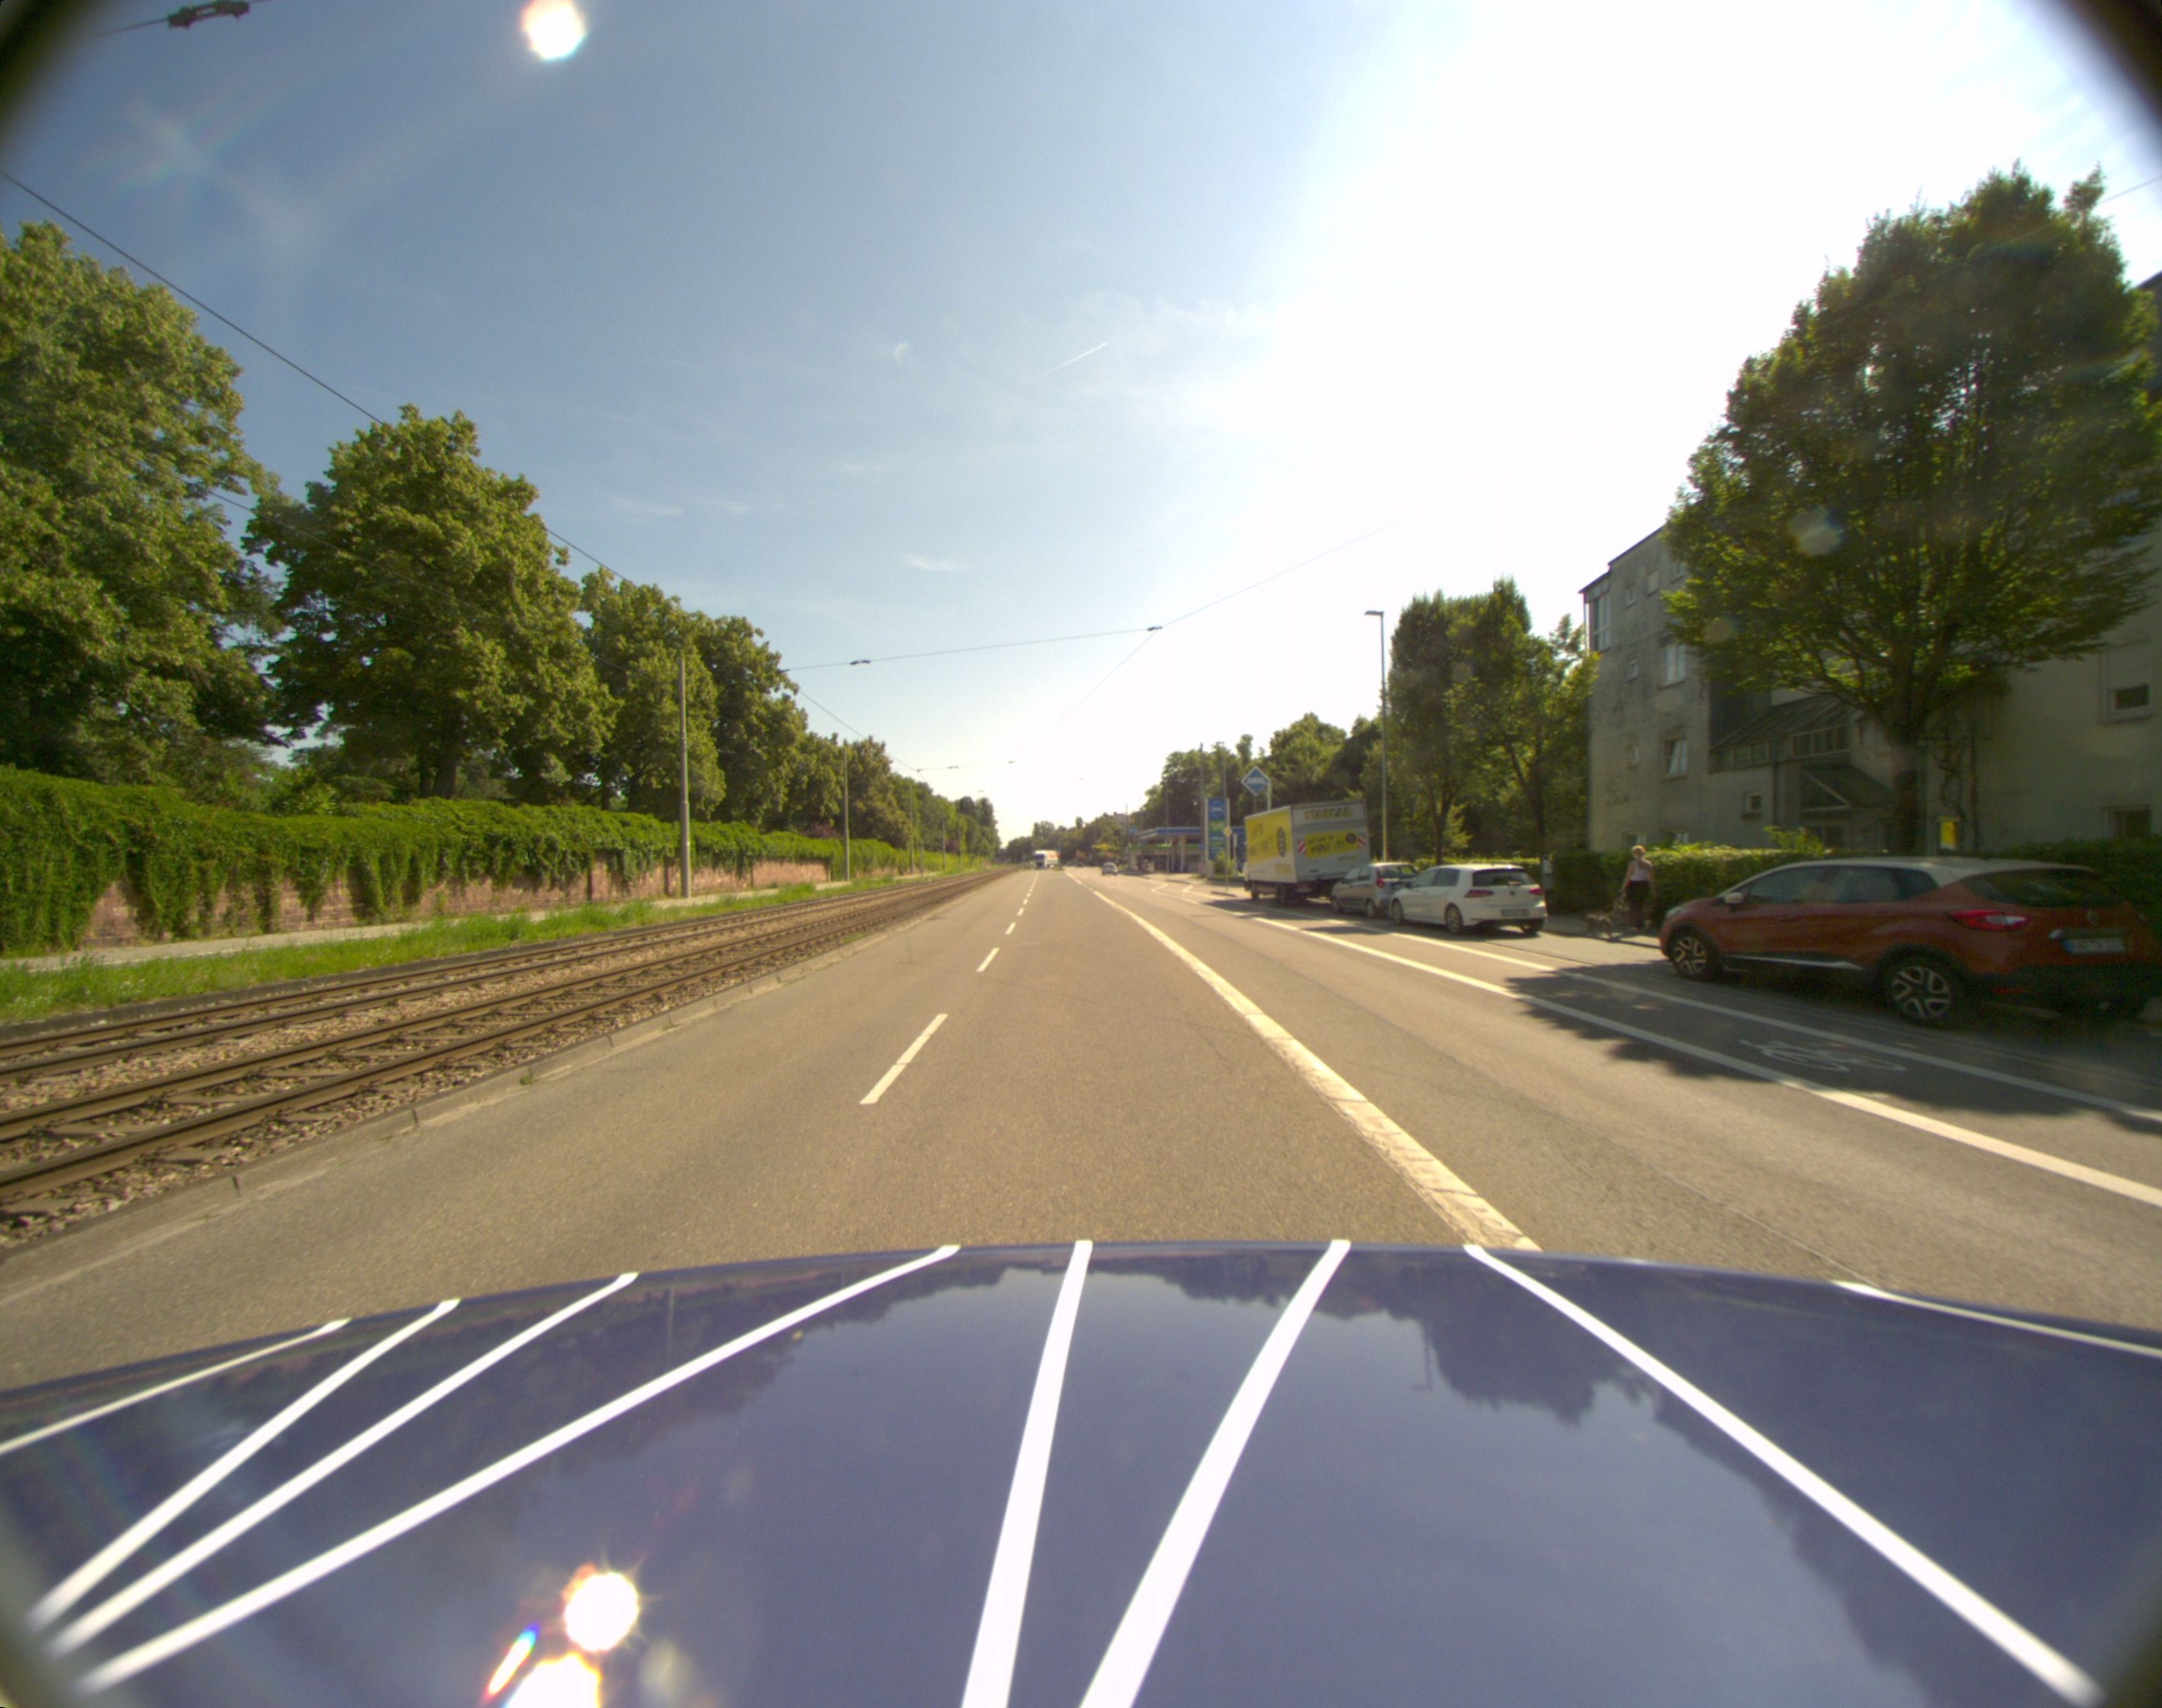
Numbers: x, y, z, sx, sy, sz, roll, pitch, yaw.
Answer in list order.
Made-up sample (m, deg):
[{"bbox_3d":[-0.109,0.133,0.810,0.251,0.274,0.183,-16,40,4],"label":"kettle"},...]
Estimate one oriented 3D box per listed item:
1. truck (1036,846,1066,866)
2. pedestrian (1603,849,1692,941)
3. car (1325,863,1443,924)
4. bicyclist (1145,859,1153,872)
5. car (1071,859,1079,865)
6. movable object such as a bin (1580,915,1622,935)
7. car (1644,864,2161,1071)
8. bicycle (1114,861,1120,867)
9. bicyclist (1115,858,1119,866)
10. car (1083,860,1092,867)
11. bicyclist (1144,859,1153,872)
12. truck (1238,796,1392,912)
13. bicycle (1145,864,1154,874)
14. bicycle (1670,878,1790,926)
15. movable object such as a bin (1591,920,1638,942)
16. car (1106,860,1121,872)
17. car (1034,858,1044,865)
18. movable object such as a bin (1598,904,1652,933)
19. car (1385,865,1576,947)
[{"bbox_3d":[-6.358,0.432,164.237,2.849,3.983,14.319,-1,0,13],"label":"truck"},{"bbox_3d":[10.752,0.756,14.462,0.877,1.681,1.055,-1,0,-2],"label":"pedestrian"},{"bbox_3d":[8.341,1.032,21.250,1.614,1.475,3.635,-3,0,-4],"label":"car"},{"bbox_3d":[7.860,1.336,88.063,0.849,1.427,0.832,-1,0,1],"label":"bicyclist"},{"bbox_3d":[-1.890,2.544,236.593,1.827,1.661,3.999,-1,-2,-7],"label":"car"},{"bbox_3d":[10.534,1.437,15.415,0.327,0.337,0.756,-1,0,-2],"label":"movable object such as a bin"},{"bbox_3d":[8.581,0.928,8.187,1.735,1.542,4.318,-2,0,-1],"label":"car"},{"bbox_3d":[7.424,2.094,157.136,0.940,1.168,2.211,-1,0,-1],"label":"bicycle"},{"bbox_3d":[7.411,1.595,156.986,0.837,1.664,0.827,-2,-1,-3],"label":"bicyclist"},{"bbox_3d":[1.630,2.370,193.952,1.827,1.661,3.999,-1,-2,-7],"label":"car"},{"bbox_3d":[7.887,1.353,88.901,0.849,1.427,0.833,-2,-1,0],"label":"bicyclist"},{"bbox_3d":[8.201,0.028,27.979,2.674,3.509,8.589,-2,0,-2],"label":"truck"},{"bbox_3d":[7.916,1.767,88.157,0.827,1.088,2.772,-1,0,1],"label":"bicycle"},{"bbox_3d":[14.139,1.036,16.580,2.016,1.005,0.549,-1,0,7],"label":"bicycle"},{"bbox_3d":[10.027,1.445,14.299,0.327,0.352,0.756,-1,0,-2],"label":"movable object such as a bin"},{"bbox_3d":[3.750,1.369,88.602,1.663,1.412,4.310,0,0,1],"label":"car"},{"bbox_3d":[-10.304,1.897,186.183,1.932,1.593,4.465,-2,0,-9],"label":"car"},{"bbox_3d":[11.157,1.310,15.610,0.327,0.513,1.075,-1,0,-2],"label":"movable object such as a bin"},{"bbox_3d":[8.408,1.014,16.485,1.762,1.420,4.281,-2,0,-2],"label":"car"}]
